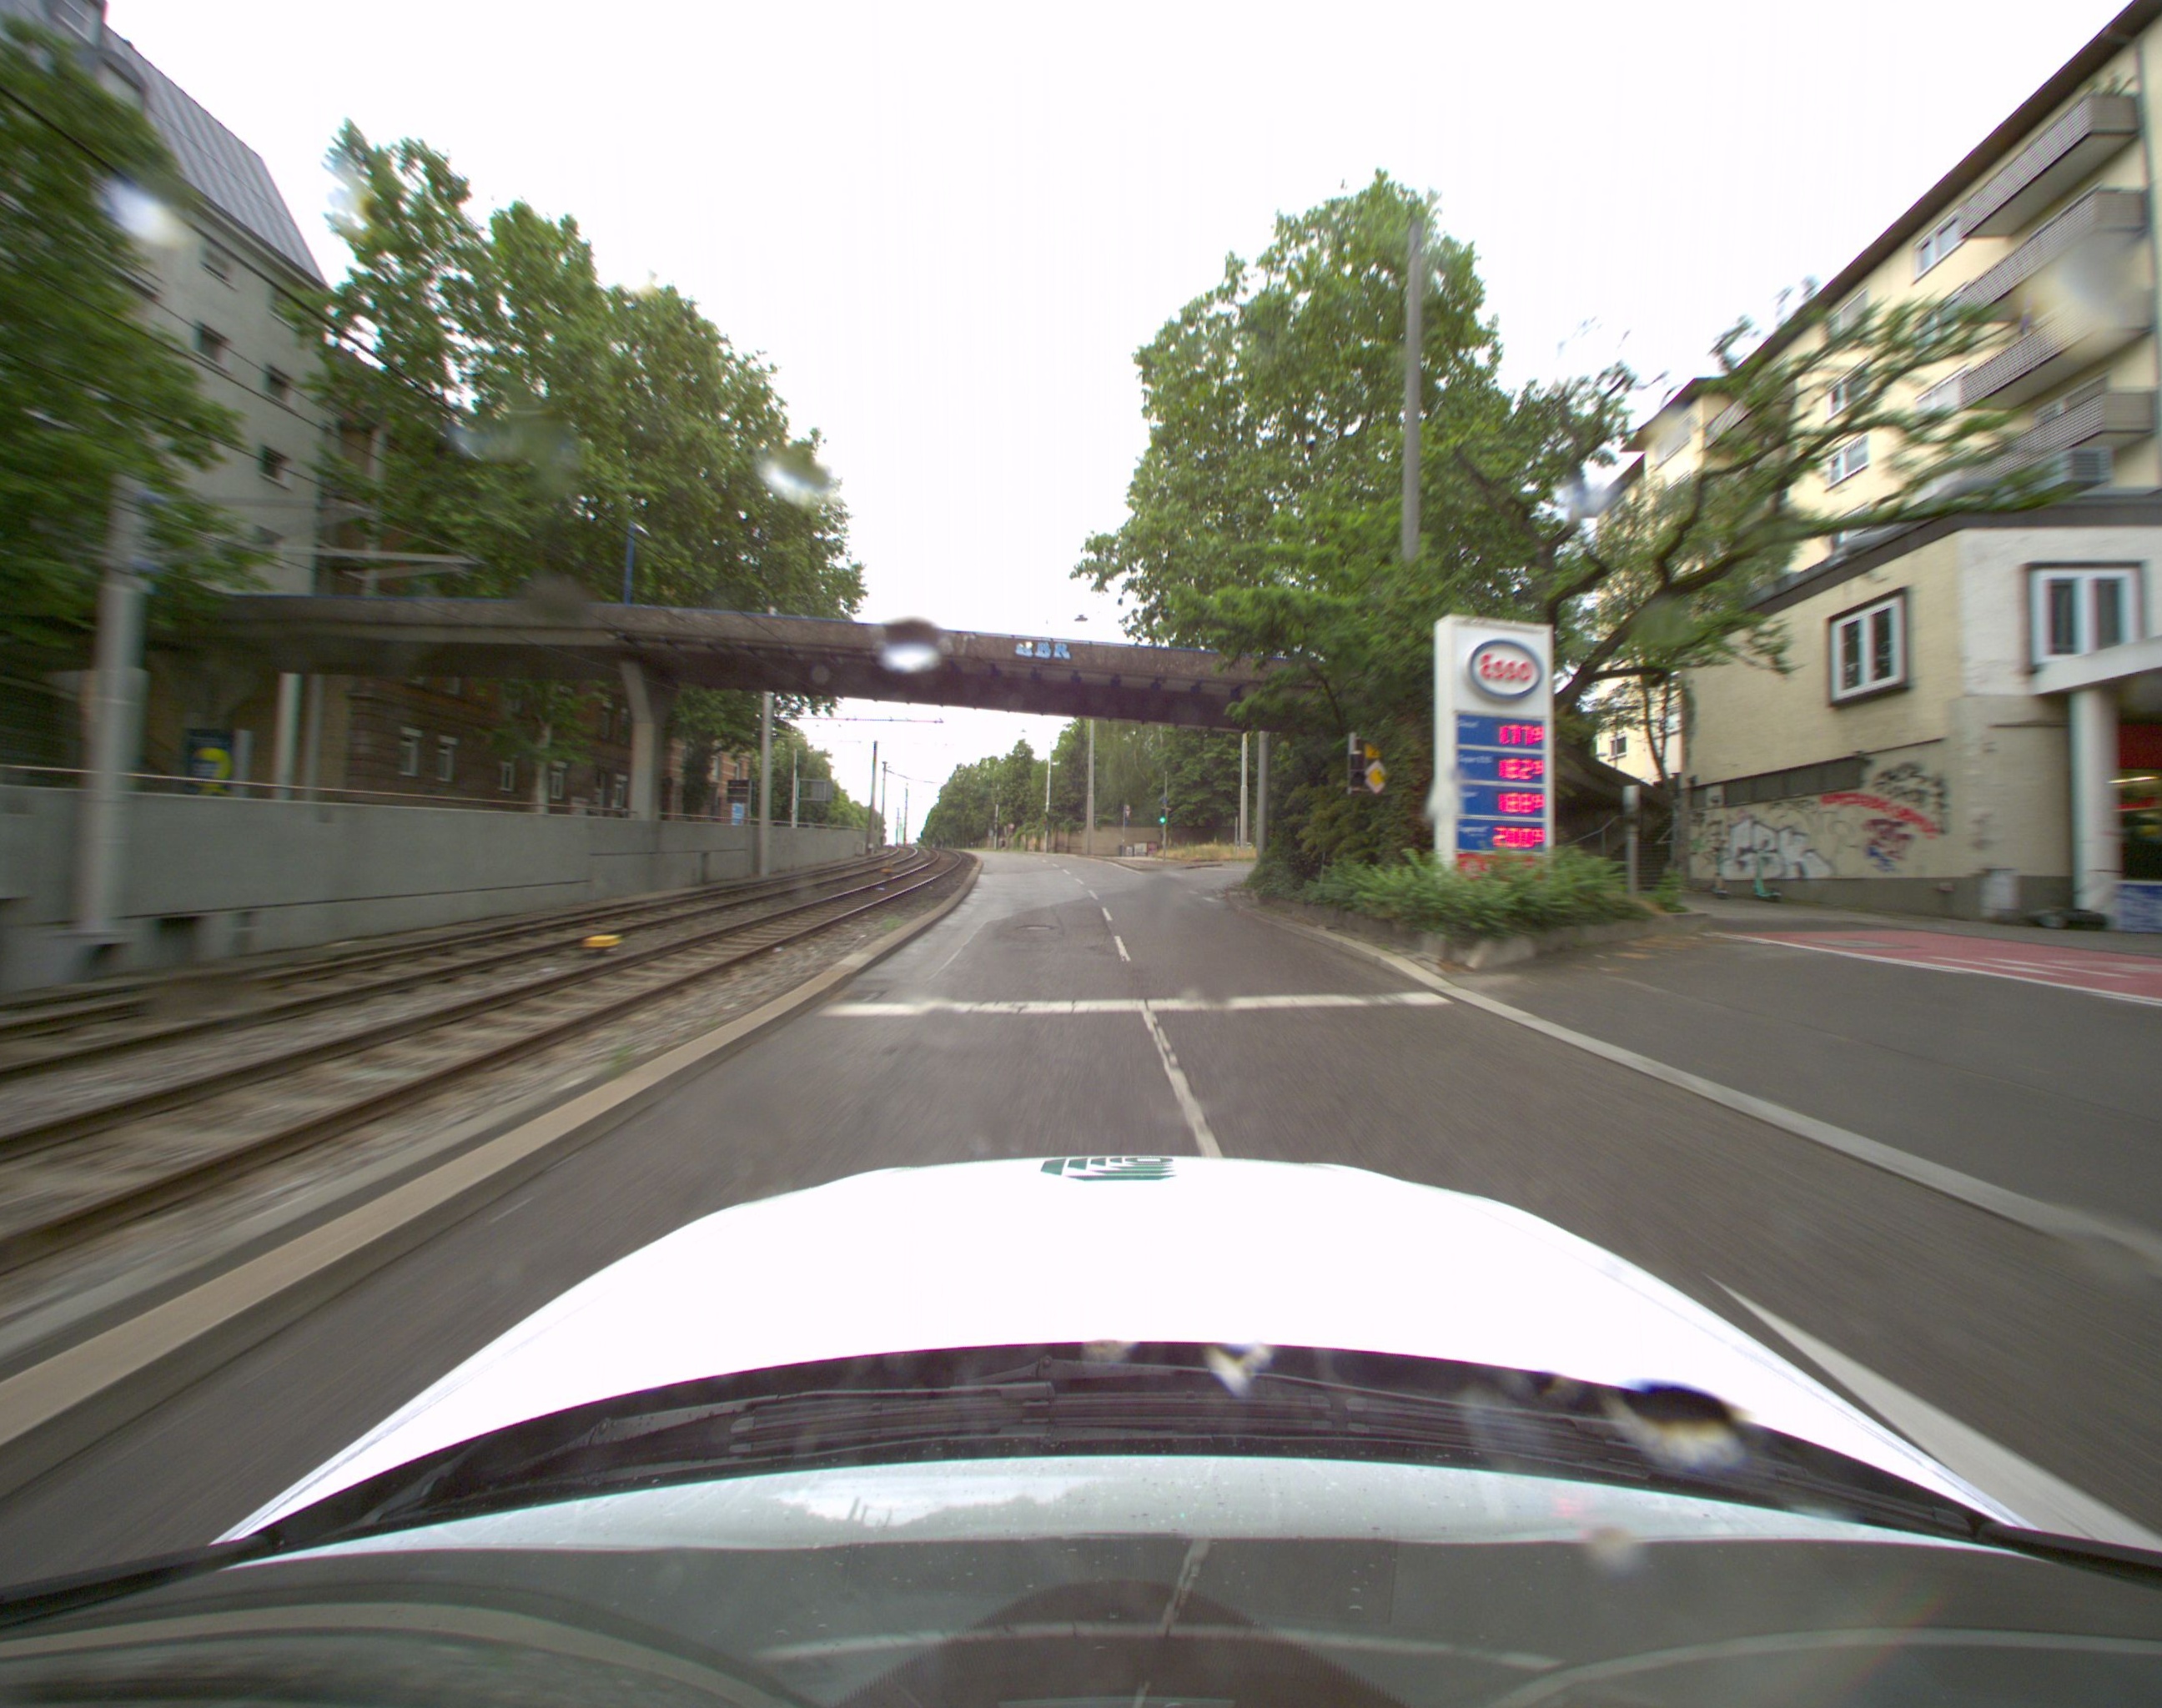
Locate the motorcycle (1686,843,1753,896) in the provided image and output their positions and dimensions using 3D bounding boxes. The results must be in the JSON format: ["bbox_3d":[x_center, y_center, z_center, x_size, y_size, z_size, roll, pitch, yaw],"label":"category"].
[{"bbox_3d":[15.359,0.353,19.629,0.530,1.190,1.770,-1,1,11],"label":"motorcycle"}]

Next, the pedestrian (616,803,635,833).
[{"bbox_3d":[-25.190,-1.985,45.070,0.590,1.624,0.724,0,1,7],"label":"pedestrian"}]

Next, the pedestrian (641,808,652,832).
[{"bbox_3d":[-24.320,-1.872,45.566,0.334,1.334,0.503,-1,1,-7],"label":"pedestrian"}]

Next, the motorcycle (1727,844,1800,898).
[{"bbox_3d":[15.921,0.375,19.056,0.530,1.190,1.770,-1,1,11],"label":"motorcycle"}]

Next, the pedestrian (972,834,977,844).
[{"bbox_3d":[-17.586,-2.513,134.873,0.720,1.687,0.726,3,-1,-13],"label":"pedestrian"}]

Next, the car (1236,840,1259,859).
[{"bbox_3d":[13.170,-0.365,64.471,1.741,1.406,4.013,1,0,12],"label":"car"}]

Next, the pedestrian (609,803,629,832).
[{"bbox_3d":[-25.875,-2.023,45.626,0.590,1.624,0.724,0,1,7],"label":"pedestrian"}]

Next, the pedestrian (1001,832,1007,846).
[{"bbox_3d":[-10.316,-1.969,108.926,0.720,1.850,0.780,3,-1,-13],"label":"pedestrian"}]
